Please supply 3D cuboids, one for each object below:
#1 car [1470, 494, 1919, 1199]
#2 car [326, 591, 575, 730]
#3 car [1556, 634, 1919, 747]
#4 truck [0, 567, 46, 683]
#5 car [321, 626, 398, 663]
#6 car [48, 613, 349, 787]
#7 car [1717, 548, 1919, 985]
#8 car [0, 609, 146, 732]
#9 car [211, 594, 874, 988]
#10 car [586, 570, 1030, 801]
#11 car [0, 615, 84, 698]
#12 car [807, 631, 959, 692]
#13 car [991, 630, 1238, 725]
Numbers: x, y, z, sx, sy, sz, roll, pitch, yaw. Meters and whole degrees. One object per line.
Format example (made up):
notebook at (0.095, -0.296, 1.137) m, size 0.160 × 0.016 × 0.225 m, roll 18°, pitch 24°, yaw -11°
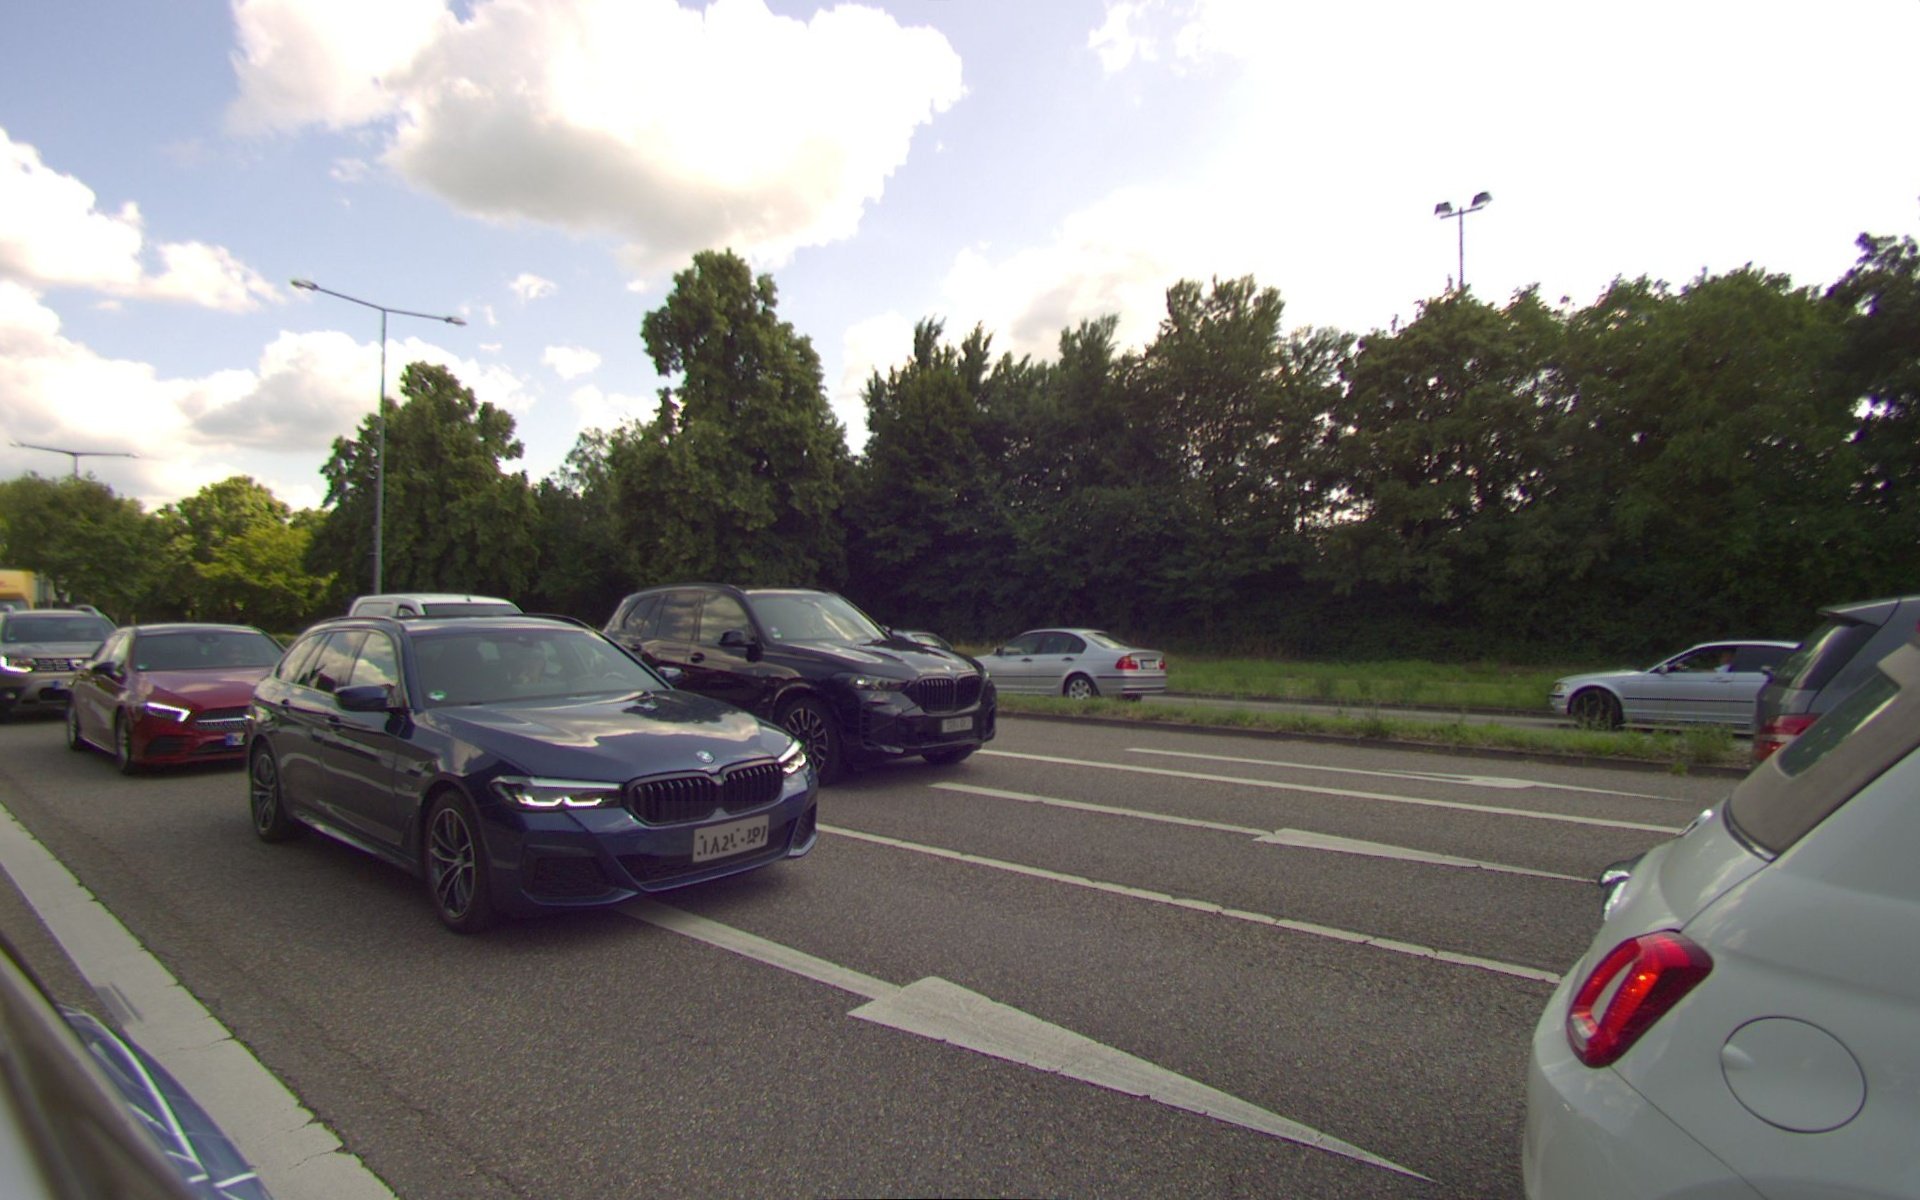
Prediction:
car at (2.634, 0.605, 0.993) m, size 3.538 × 1.508 × 1.553 m, roll -1°, pitch 0°, yaw 41°
car at (-7.873, 0.817, 15.415) m, size 4.728 × 1.812 × 1.747 m, roll -1°, pitch -1°, yaw 41°
car at (11.337, 1.243, 14.868) m, size 4.236 × 1.398 × 1.650 m, roll -1°, pitch -3°, yaw 41°
truck at (-26.712, 0.689, 27.228) m, size 6.963 × 2.881 × 2.333 m, roll -1°, pitch -1°, yaw 41°
car at (-25.245, 1.845, 42.503) m, size 3.998 × 1.397 × 1.650 m, roll -1°, pitch 0°, yaw 41°
car at (-8.325, 0.911, 10.897) m, size 4.533 × 1.473 × 1.705 m, roll -1°, pitch 0°, yaw 41°
car at (5.315, 0.613, 3.377) m, size 4.358 × 1.631 × 1.681 m, roll -1°, pitch -1°, yaw 41°
car at (-13.905, 0.966, 15.372) m, size 4.174 × 1.624 × 1.705 m, roll -1°, pitch -1°, yaw 41°
car at (-2.857, 0.755, 6.185) m, size 4.871 × 1.508 × 1.778 m, roll -1°, pitch 0°, yaw 41°
car at (-1.666, 0.678, 9.895) m, size 4.547 × 1.759 × 1.794 m, roll -1°, pitch -1°, yaw 41°
car at (-19.431, 1.105, 20.740) m, size 3.892 × 1.542 × 1.705 m, roll -1°, pitch 0°, yaw 41°
car at (-2.070, 1.555, 26.473) m, size 3.998 × 1.397 × 1.650 m, roll -1°, pitch 0°, yaw 41°
car at (2.632, 1.268, 17.833) m, size 4.073 × 1.397 × 1.650 m, roll -1°, pitch 0°, yaw 41°
